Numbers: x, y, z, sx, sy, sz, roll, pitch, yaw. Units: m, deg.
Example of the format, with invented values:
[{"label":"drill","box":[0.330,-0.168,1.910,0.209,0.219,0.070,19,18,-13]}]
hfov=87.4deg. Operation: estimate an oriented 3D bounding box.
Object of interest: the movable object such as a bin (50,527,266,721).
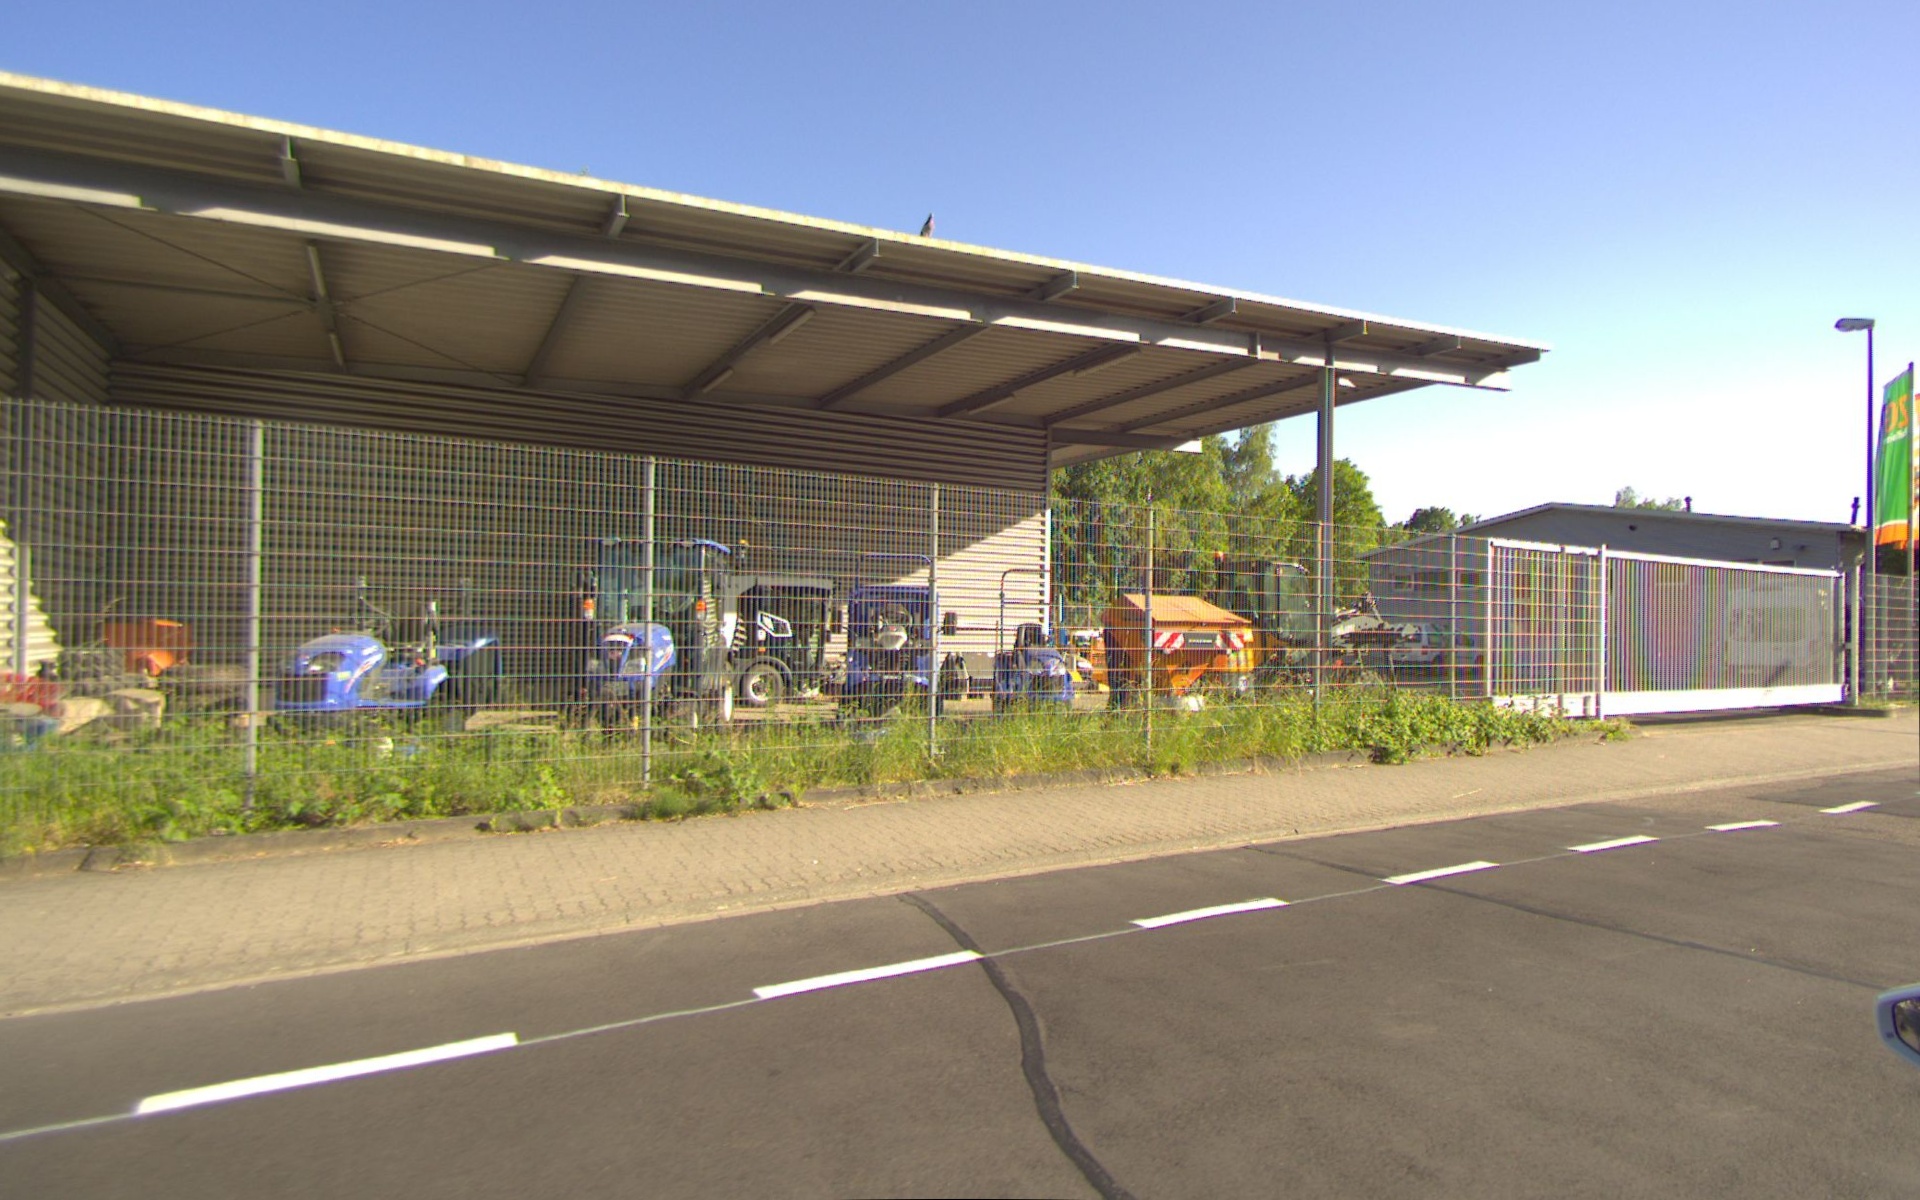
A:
[{"label":"movable object such as a bin","box":[-9.565,0.280,12.138,1.827,2.120,1.568,1,-1,-32]}]

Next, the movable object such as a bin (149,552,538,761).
[{"label":"movable object such as a bin","box":[-5.583,0.471,9.636,1.594,1.634,3.405,1,-1,0]}]

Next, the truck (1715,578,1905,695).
[{"label":"truck","box":[22.326,0.948,26.326,5.697,2.798,2.069,1,-1,-30]}]

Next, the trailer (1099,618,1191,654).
[{"label":"trailer","box":[8.750,1.696,47.522,3.952,1.610,1.985,1,-1,-29]}]

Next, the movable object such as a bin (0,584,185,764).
[{"label":"movable object such as a bin","box":[-7.653,0.594,8.701,1.310,1.420,1.461,1,-1,-32]}]

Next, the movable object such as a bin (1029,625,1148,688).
[{"label":"movable object such as a bin","box":[2.981,1.275,23.234,2.608,1.349,1.160,1,-1,-33]}]

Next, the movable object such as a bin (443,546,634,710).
[{"label":"movable object such as a bin","box":[-5.991,0.392,14.273,2.286,2.120,1.568,1,-1,-32]}]

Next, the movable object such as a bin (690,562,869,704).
[{"label":"movable object such as a bin","box":[-2.925,0.520,16.288,2.451,2.120,1.567,1,-1,-32]}]

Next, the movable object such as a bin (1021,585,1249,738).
[{"label":"movable object such as a bin","box":[2.318,0.773,13.886,1.508,1.859,3.024,1,-1,-31]}]

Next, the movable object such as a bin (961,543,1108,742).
[{"label":"movable object such as a bin","box":[0.824,0.489,12.469,1.470,2.177,2.889,1,-1,-3]}]

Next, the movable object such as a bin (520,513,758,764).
[{"label":"movable object such as a bin","box":[-3.097,0.357,10.207,1.493,2.193,2.773,1,-1,0]}]

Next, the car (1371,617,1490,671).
[{"label":"car","box":[16.893,1.563,36.028,3.953,1.839,1.984,1,-1,-30]}]

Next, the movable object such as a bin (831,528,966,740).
[{"label":"movable object such as a bin","box":[-0.719,0.371,11.643,1.358,2.154,2.799,1,-1,-4]}]

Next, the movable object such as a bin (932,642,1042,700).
[{"label":"movable object such as a bin","box":[0.488,1.272,18.412,1.710,0.983,1.095,1,-1,-32]}]

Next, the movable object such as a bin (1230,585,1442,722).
[{"label":"movable object such as a bin","box":[5.948,0.794,15.854,3.064,1.960,1.648,1,-1,-33]}]

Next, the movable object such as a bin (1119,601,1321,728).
[{"label":"movable object such as a bin","box":[3.791,0.883,14.943,1.508,1.703,2.624,1,-1,-31]}]

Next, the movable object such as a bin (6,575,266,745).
[{"label":"movable object such as a bin","box":[-8.662,0.594,10.741,1.935,1.631,1.461,1,-1,-32]}]
